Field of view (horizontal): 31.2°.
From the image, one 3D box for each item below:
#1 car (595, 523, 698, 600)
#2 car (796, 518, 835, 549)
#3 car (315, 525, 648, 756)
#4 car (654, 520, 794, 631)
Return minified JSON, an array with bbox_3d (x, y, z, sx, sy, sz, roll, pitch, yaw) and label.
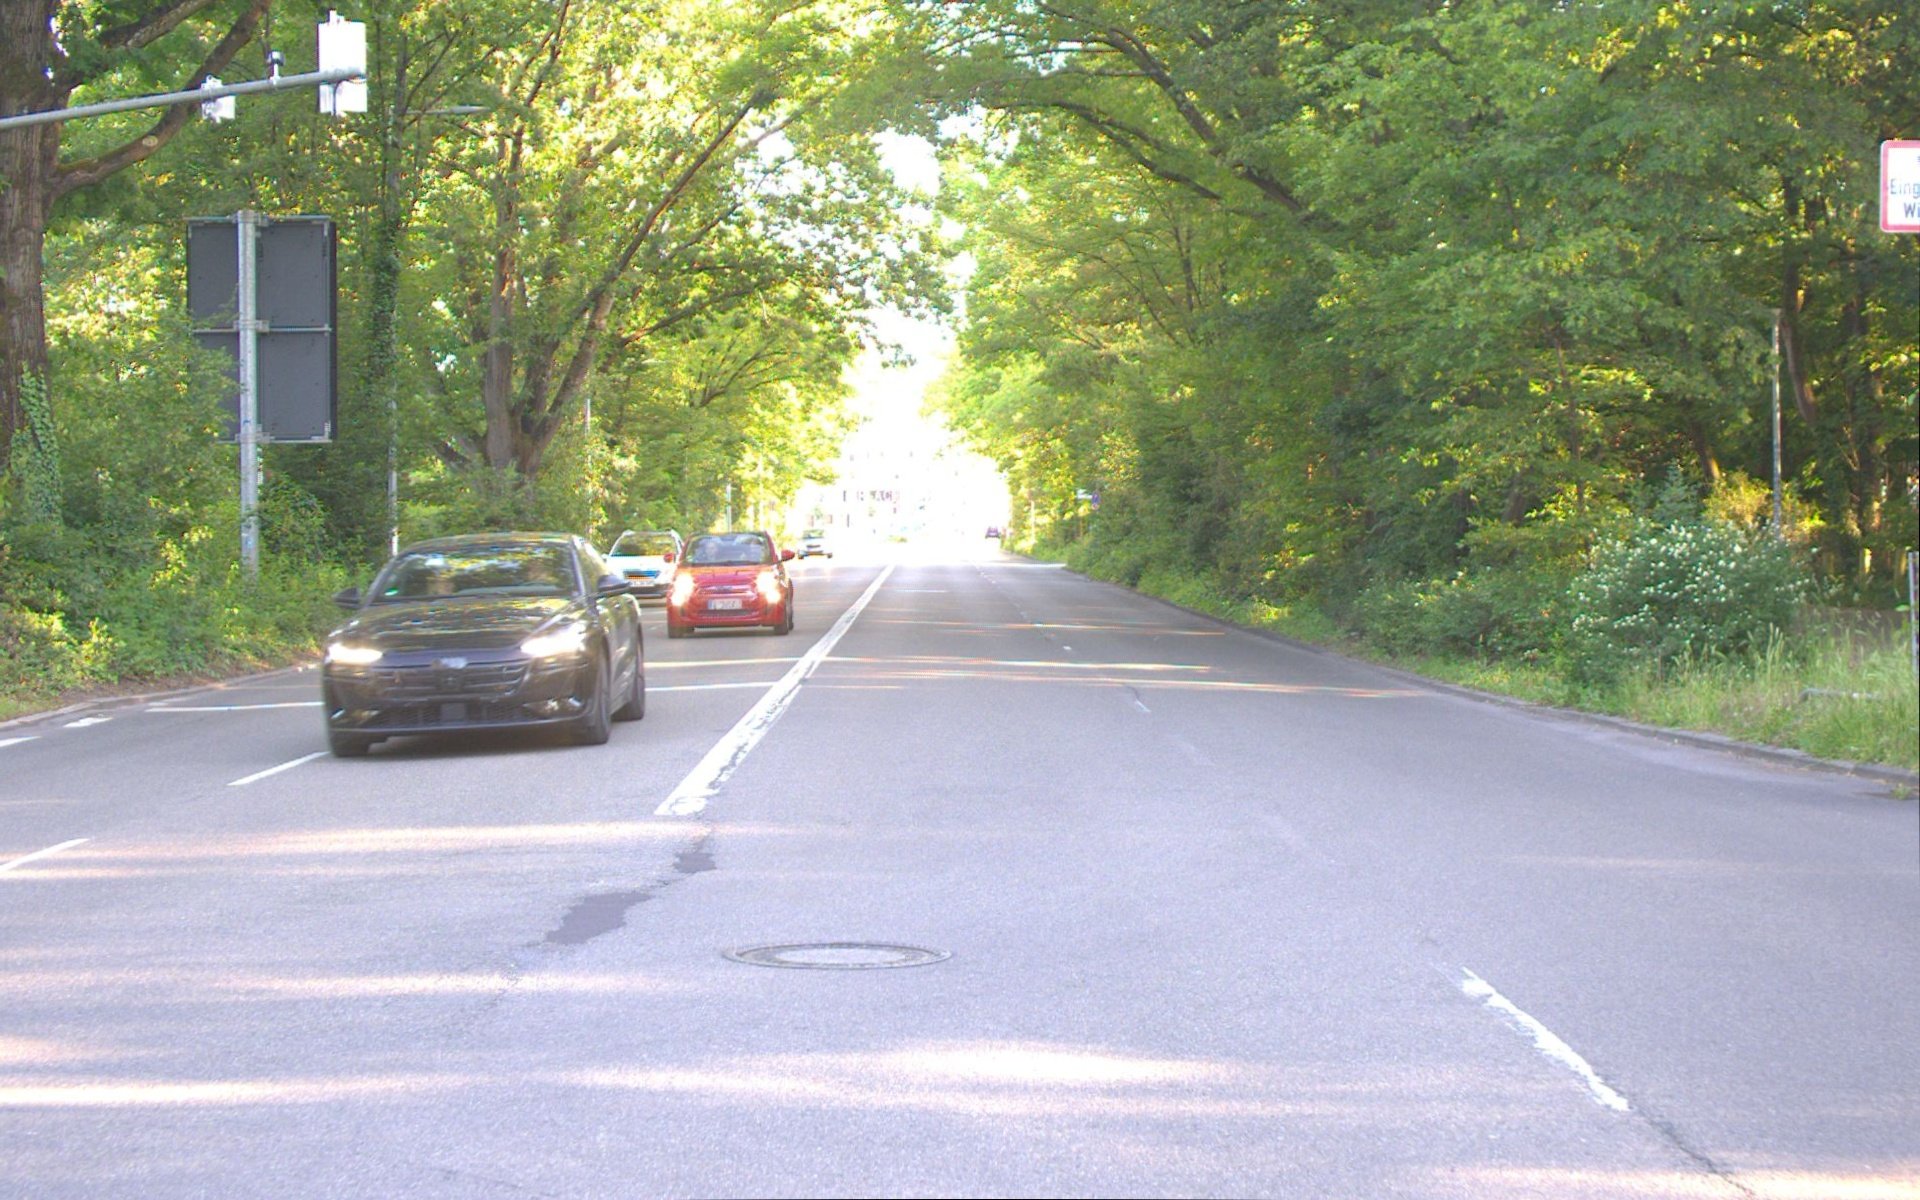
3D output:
[{"bbox_3d":[-6.384,-0.807,70.427,1.797,1.501,4.365,-1,1,-1],"label":"car"},{"bbox_3d":[-7.019,-3.229,167.148,1.797,1.501,4.365,-1,1,-1],"label":"car"},{"bbox_3d":[-3.365,0.227,24.938,1.887,1.501,4.365,-1,1,-1],"label":"car"},{"bbox_3d":[-3.353,-0.376,49.424,1.797,1.501,4.365,-1,1,-1],"label":"car"}]
